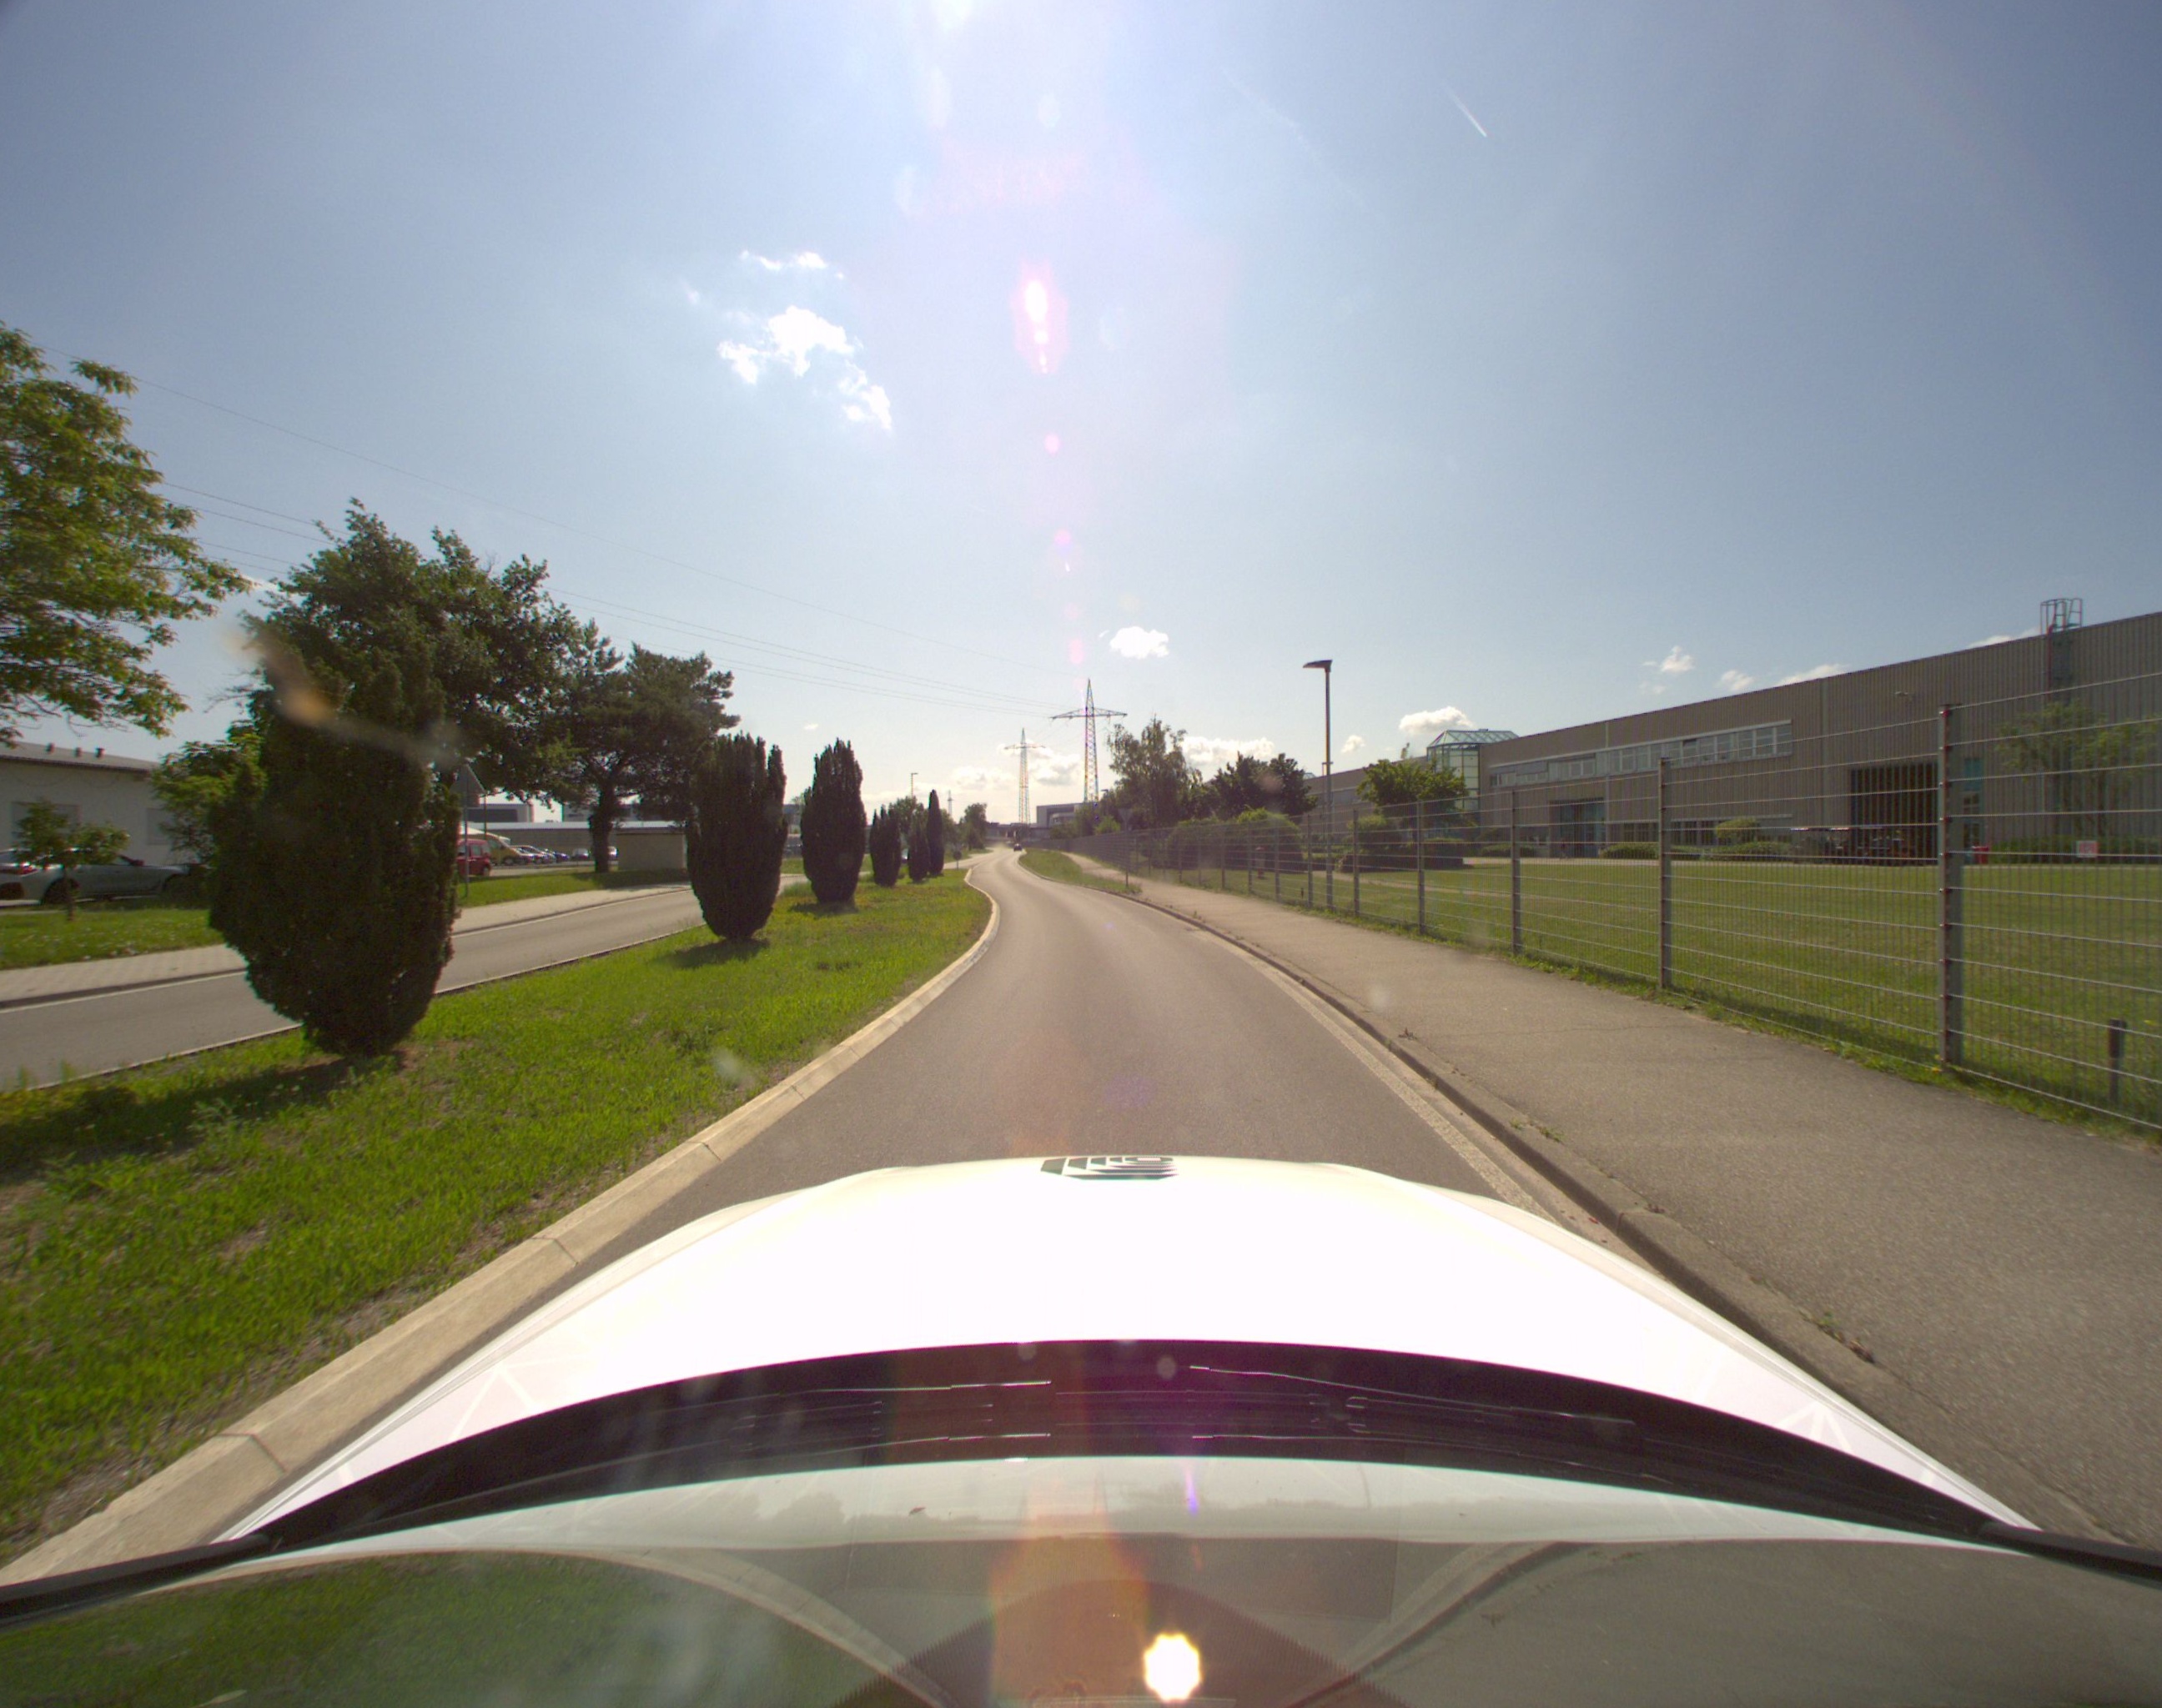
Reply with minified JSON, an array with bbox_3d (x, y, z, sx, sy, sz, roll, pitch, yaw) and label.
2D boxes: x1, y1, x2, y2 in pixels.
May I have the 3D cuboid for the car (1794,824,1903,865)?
[{"bbox_3d":[39.283,-0.502,41.728,4.159,2.013,1.965,-1,0,-10],"label":"car"}]

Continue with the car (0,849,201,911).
[{"bbox_3d":[-25.821,0.608,20.875,1.993,1.408,4.503,-1,0,-8],"label":"car"}]

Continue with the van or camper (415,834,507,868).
[{"bbox_3d":[-45.752,-0.264,60.243,5.365,2.375,1.873,-1,0,-37],"label":"van or camper"}]

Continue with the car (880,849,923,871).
[{"bbox_3d":[-11.985,0.352,54.696,1.893,1.394,4.863,-1,1,-1],"label":"car"}]

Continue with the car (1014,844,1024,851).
[{"bbox_3d":[-13.562,-1.347,177.192,2.010,1.508,3.991,-1,0,-6],"label":"car"}]

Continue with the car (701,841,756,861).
[{"bbox_3d":[-26.481,-0.232,61.222,3.582,1.401,1.783,-1,0,-32],"label":"car"}]

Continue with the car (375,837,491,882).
[{"bbox_3d":[-27.202,0.208,34.402,1.993,1.744,4.215,-1,1,-10],"label":"car"}]

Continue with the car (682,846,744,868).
[{"bbox_3d":[-28.434,0.216,63.007,4.128,1.704,1.704,0,0,-37],"label":"car"}]

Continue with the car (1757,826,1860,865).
[{"bbox_3d":[39.056,-0.470,43.760,4.159,2.013,1.965,-1,0,-10],"label":"car"}]

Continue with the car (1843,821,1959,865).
[{"bbox_3d":[39.732,-0.549,39.520,4.159,2.013,1.965,-1,0,-10],"label":"car"}]
